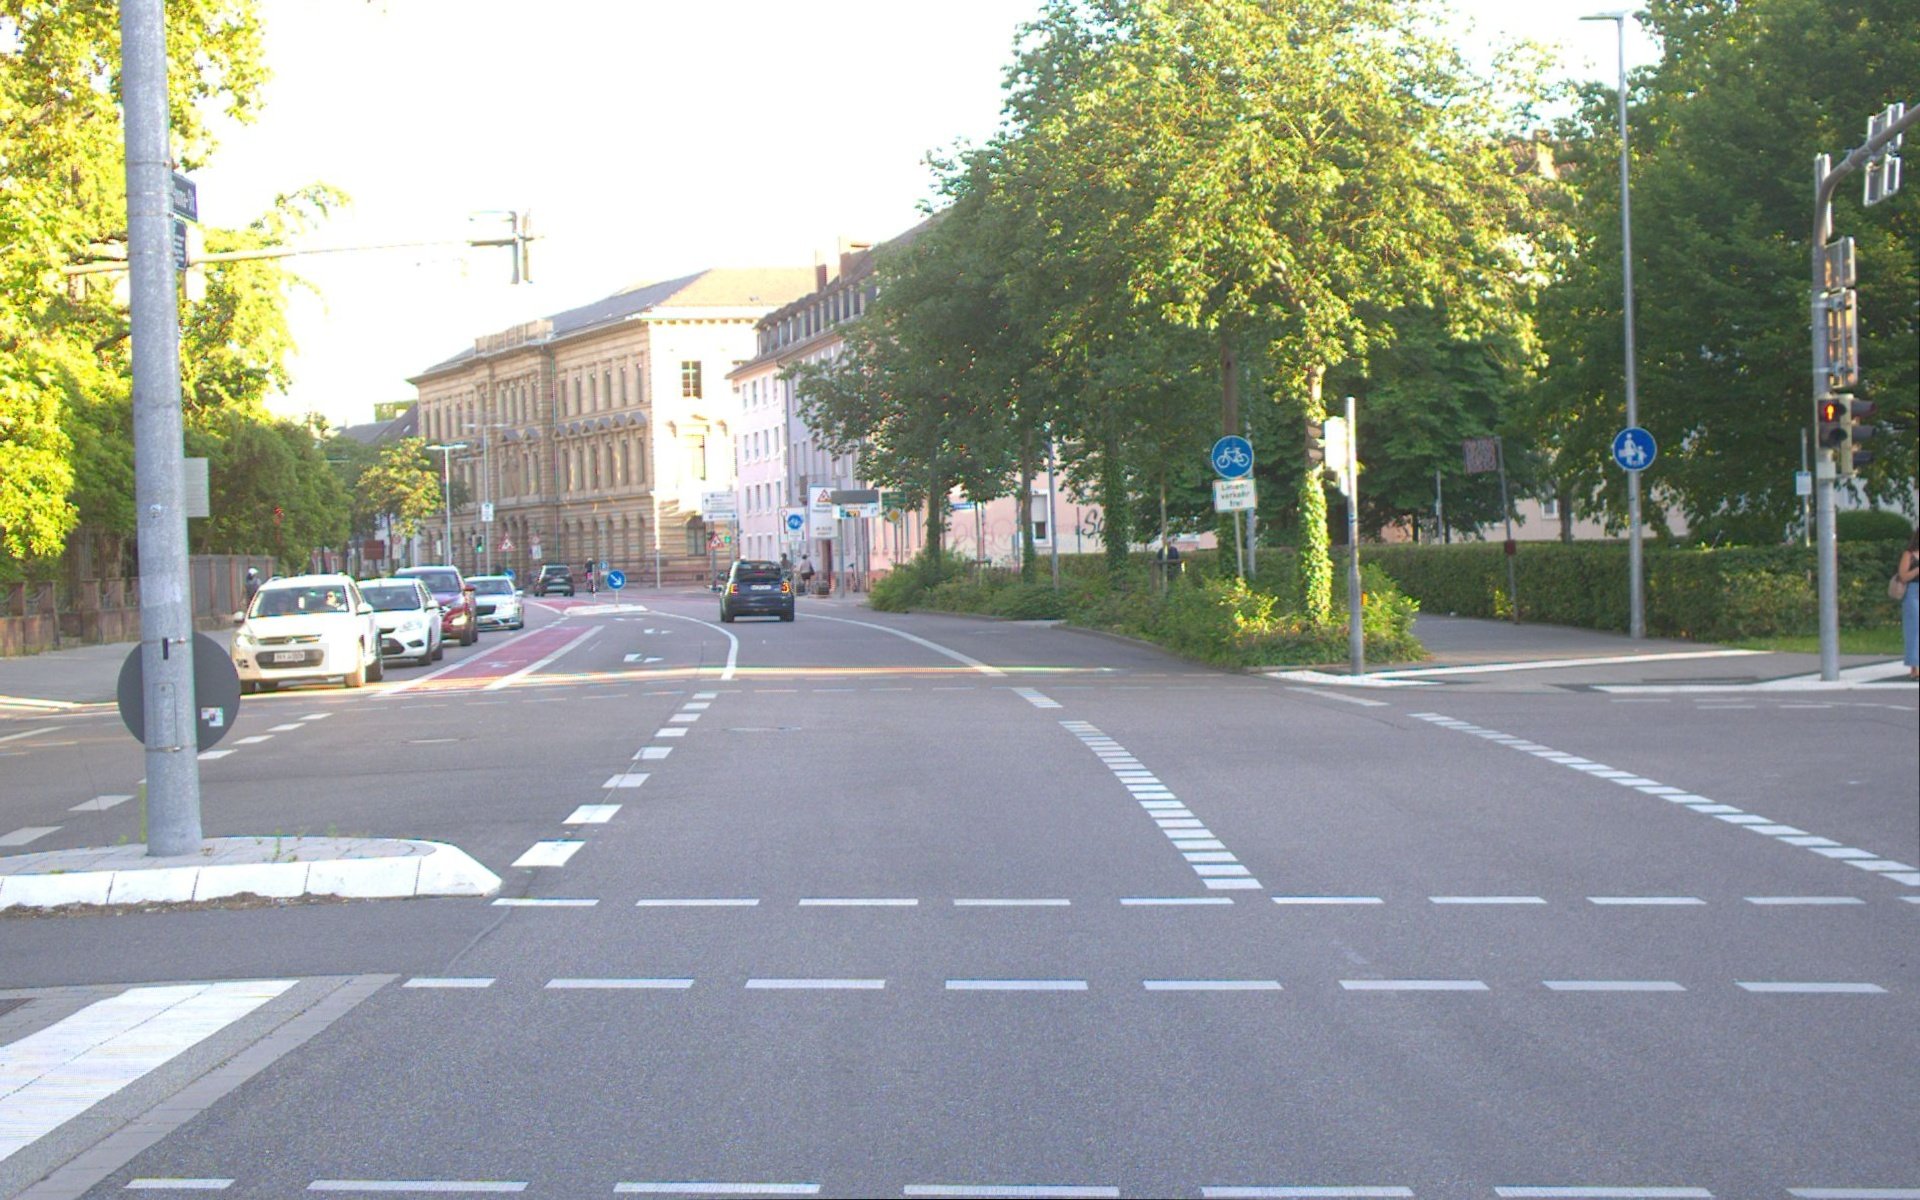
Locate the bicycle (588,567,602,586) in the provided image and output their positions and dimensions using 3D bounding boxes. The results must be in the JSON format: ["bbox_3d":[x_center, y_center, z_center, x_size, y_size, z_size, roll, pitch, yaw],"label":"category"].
[{"bbox_3d":[-19.370,-1.252,182.344,0.652,1.012,2.198,1,1,-8],"label":"bicycle"}]

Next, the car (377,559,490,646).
[{"bbox_3d":[-10.946,0.024,71.750,1.916,1.619,4.640,-3,1,-5],"label":"car"}]

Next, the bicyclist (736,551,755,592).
[{"bbox_3d":[-7.607,-1.006,121.897,0.652,1.441,0.879,1,0,-5],"label":"bicyclist"}]

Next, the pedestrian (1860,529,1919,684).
[{"bbox_3d":[10.115,0.057,36.852,0.681,1.616,0.845,-2,1,-1],"label":"pedestrian"}]

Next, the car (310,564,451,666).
[{"bbox_3d":[-9.995,0.224,59.572,1.916,1.578,4.675,-3,1,-5],"label":"car"}]

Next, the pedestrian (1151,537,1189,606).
[{"bbox_3d":[5.331,-0.724,87.301,0.769,1.733,0.807,-2,1,-10],"label":"pedestrian"}]

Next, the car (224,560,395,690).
[{"bbox_3d":[-9.468,0.325,50.329,1.916,1.690,4.427,-3,1,-5],"label":"car"}]

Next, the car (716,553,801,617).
[{"bbox_3d":[-4.949,-0.383,84.867,1.867,1.505,4.000,1,1,-1],"label":"car"}]

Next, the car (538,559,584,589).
[{"bbox_3d":[-20.266,-1.326,174.558,1.916,1.413,4.771,-4,1,-10],"label":"car"}]

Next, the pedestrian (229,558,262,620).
[{"bbox_3d":[-18.786,-0.295,90.355,0.681,1.617,0.688,-2,1,-1],"label":"pedestrian"}]

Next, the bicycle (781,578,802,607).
[{"bbox_3d":[-5.943,-0.275,121.130,0.652,1.012,2.198,1,1,-5],"label":"bicycle"}]

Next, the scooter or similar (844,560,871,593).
[{"bbox_3d":[-4.327,-0.992,145.350,0.629,1.332,2.401,-1,1,-14],"label":"scooter or similar"}]

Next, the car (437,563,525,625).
[{"bbox_3d":[-12.327,-0.177,88.702,1.916,1.413,4.771,-3,1,-5],"label":"car"}]

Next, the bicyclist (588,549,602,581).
[{"bbox_3d":[-19.361,-1.860,182.325,0.652,1.692,0.957,1,0,-8],"label":"bicyclist"}]

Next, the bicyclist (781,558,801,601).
[{"bbox_3d":[-5.949,-0.726,121.246,0.652,1.470,0.941,1,0,-5],"label":"bicyclist"}]
